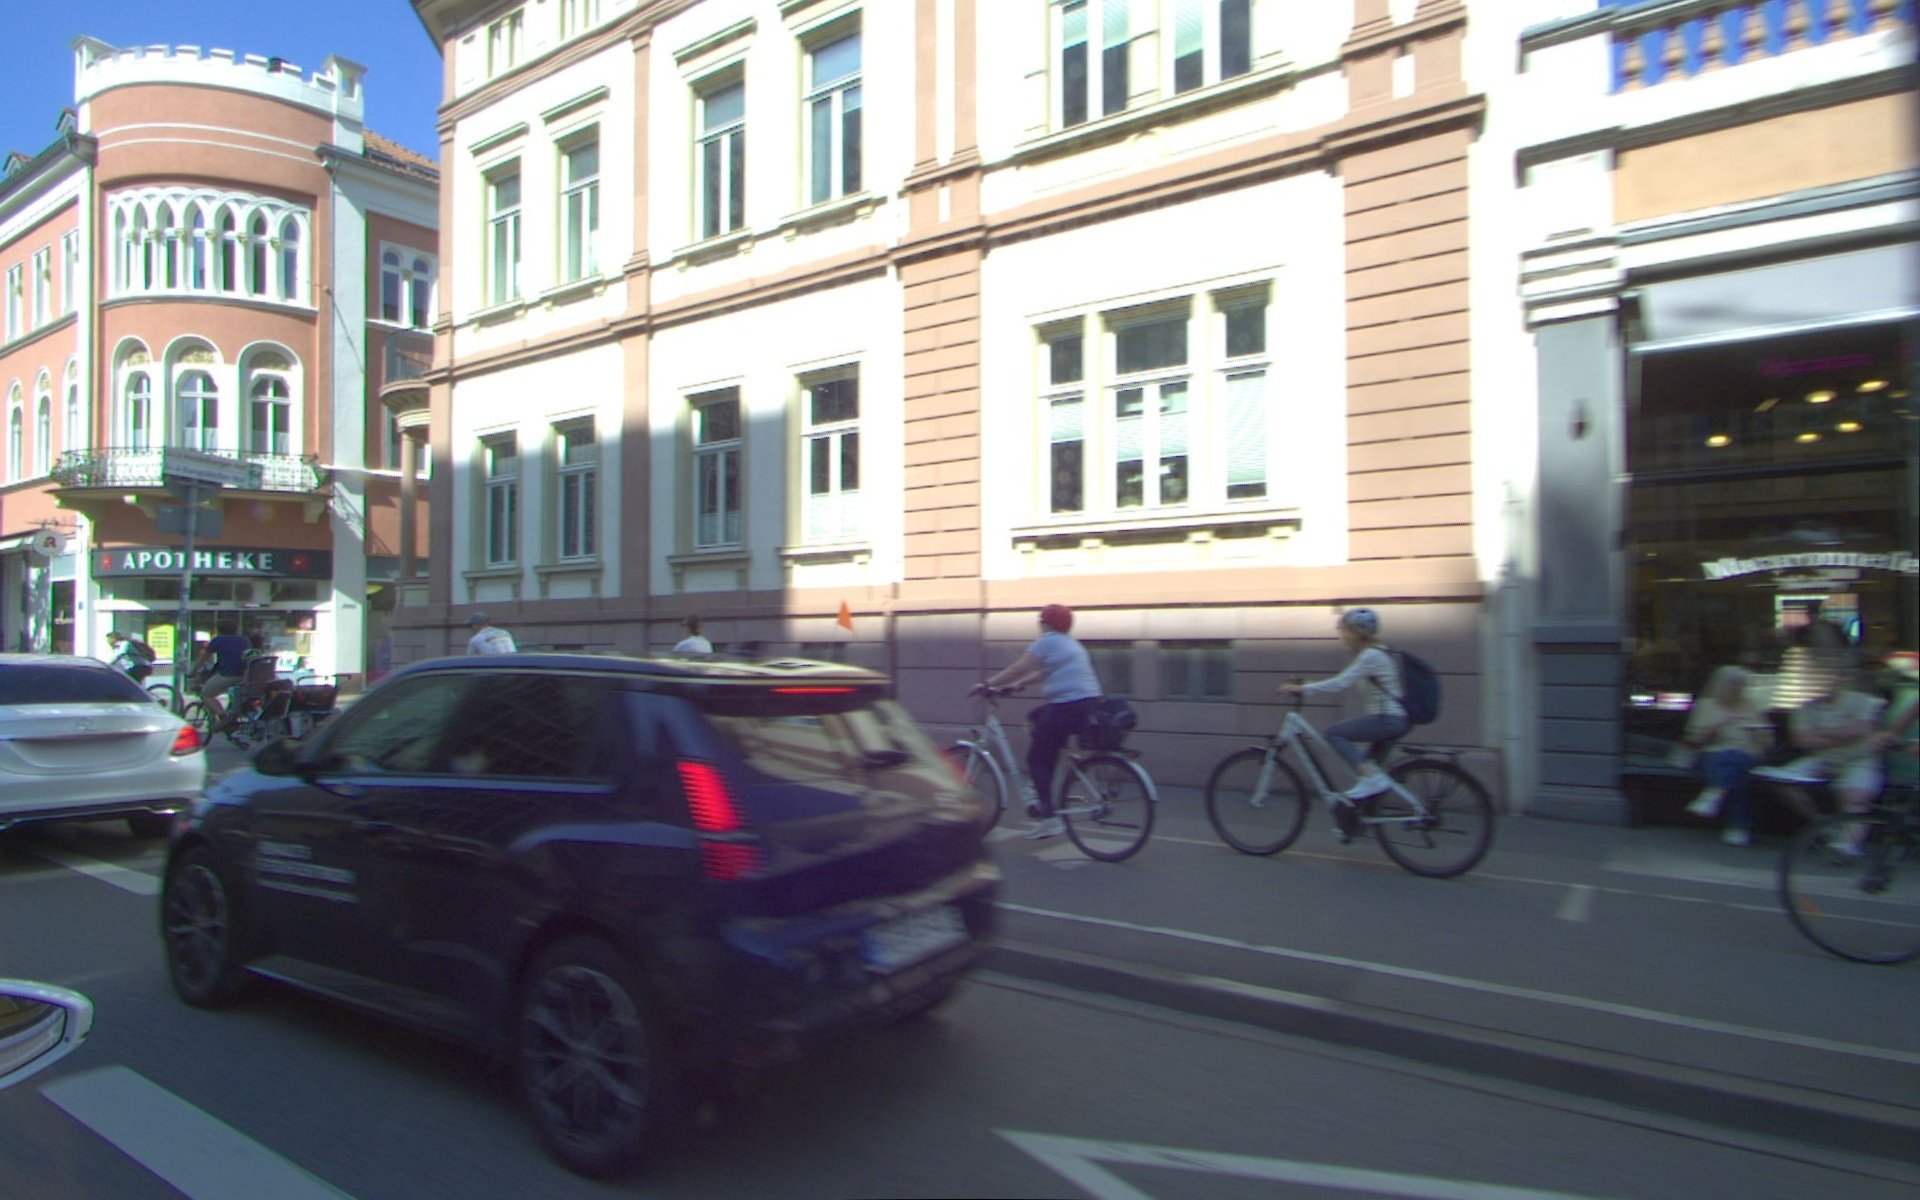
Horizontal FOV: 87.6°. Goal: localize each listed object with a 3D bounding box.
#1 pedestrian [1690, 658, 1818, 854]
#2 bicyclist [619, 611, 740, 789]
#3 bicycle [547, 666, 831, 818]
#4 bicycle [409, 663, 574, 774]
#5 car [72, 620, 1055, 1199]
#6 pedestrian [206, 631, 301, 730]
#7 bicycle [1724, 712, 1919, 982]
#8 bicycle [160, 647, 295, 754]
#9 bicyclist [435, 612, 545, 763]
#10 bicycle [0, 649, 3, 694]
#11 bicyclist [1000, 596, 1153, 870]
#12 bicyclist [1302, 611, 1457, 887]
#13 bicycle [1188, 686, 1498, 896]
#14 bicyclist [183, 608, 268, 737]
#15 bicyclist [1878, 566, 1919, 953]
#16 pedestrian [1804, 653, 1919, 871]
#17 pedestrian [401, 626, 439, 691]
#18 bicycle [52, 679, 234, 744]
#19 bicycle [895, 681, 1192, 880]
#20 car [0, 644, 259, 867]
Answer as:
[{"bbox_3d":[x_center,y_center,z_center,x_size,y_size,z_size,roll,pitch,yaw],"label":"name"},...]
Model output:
[{"bbox_3d":[5.957,1.116,7.563,0.616,1.333,1.028,-1,-1,31],"label":"pedestrian"},{"bbox_3d":[-2.705,0.919,9.671,0.832,1.594,0.744,2,1,33],"label":"bicyclist"},{"bbox_3d":[-2.701,1.281,9.669,3.195,1.142,0.746,0,0,34],"label":"bicycle"},{"bbox_3d":[-5.493,1.343,11.710,2.043,1.142,0.571,0,0,25],"label":"bicycle"},{"bbox_3d":[-1.893,0.954,4.456,4.229,1.509,1.885,-2,-6,32],"label":"car"},{"bbox_3d":[-12.299,1.384,17.450,0.957,1.632,0.903,-3,-2,3],"label":"pedestrian"},{"bbox_3d":[4.753,1.145,4.567,1.964,1.132,0.661,-1,-2,34],"label":"bicycle"},{"bbox_3d":[-10.009,1.329,13.659,2.250,1.284,0.731,0,-3,34],"label":"bicycle"},{"bbox_3d":[-5.491,0.984,11.706,1.140,1.683,0.571,0,0,25],"label":"bicyclist"},{"bbox_3d":[-19.110,1.343,18.638,0.494,0.855,1.818,-1,-2,33],"label":"bicycle"},{"bbox_3d":[0.806,0.870,6.889,0.833,1.738,0.681,-1,-2,33],"label":"bicyclist"},{"bbox_3d":[2.709,0.912,6.473,0.833,1.657,0.514,-1,-1,33],"label":"bicyclist"},{"bbox_3d":[2.505,1.187,6.654,1.834,1.141,0.604,-1,-1,34],"label":"bicycle"},{"bbox_3d":[-10.031,0.967,13.679,0.764,1.695,0.729,-1,-1,34],"label":"bicyclist"},{"bbox_3d":[4.796,0.720,4.493,0.833,1.739,0.837,-1,-1,33],"label":"bicyclist"},{"bbox_3d":[6.348,1.065,6.919,0.616,1.334,1.083,-1,1,31],"label":"pedestrian"},{"bbox_3d":[-14.526,1.571,26.921,0.781,1.679,0.636,2,-1,44],"label":"pedestrian"},{"bbox_3d":[-15.069,2.038,18.563,2.547,1.140,0.623,4,-6,-41],"label":"bicycle"},{"bbox_3d":[0.552,1.198,7.112,2.006,1.141,0.733,-1,-1,34],"label":"bicycle"},{"bbox_3d":[-8.011,1.082,8.175,4.815,1.442,1.951,-1,-4,32],"label":"car"}]
